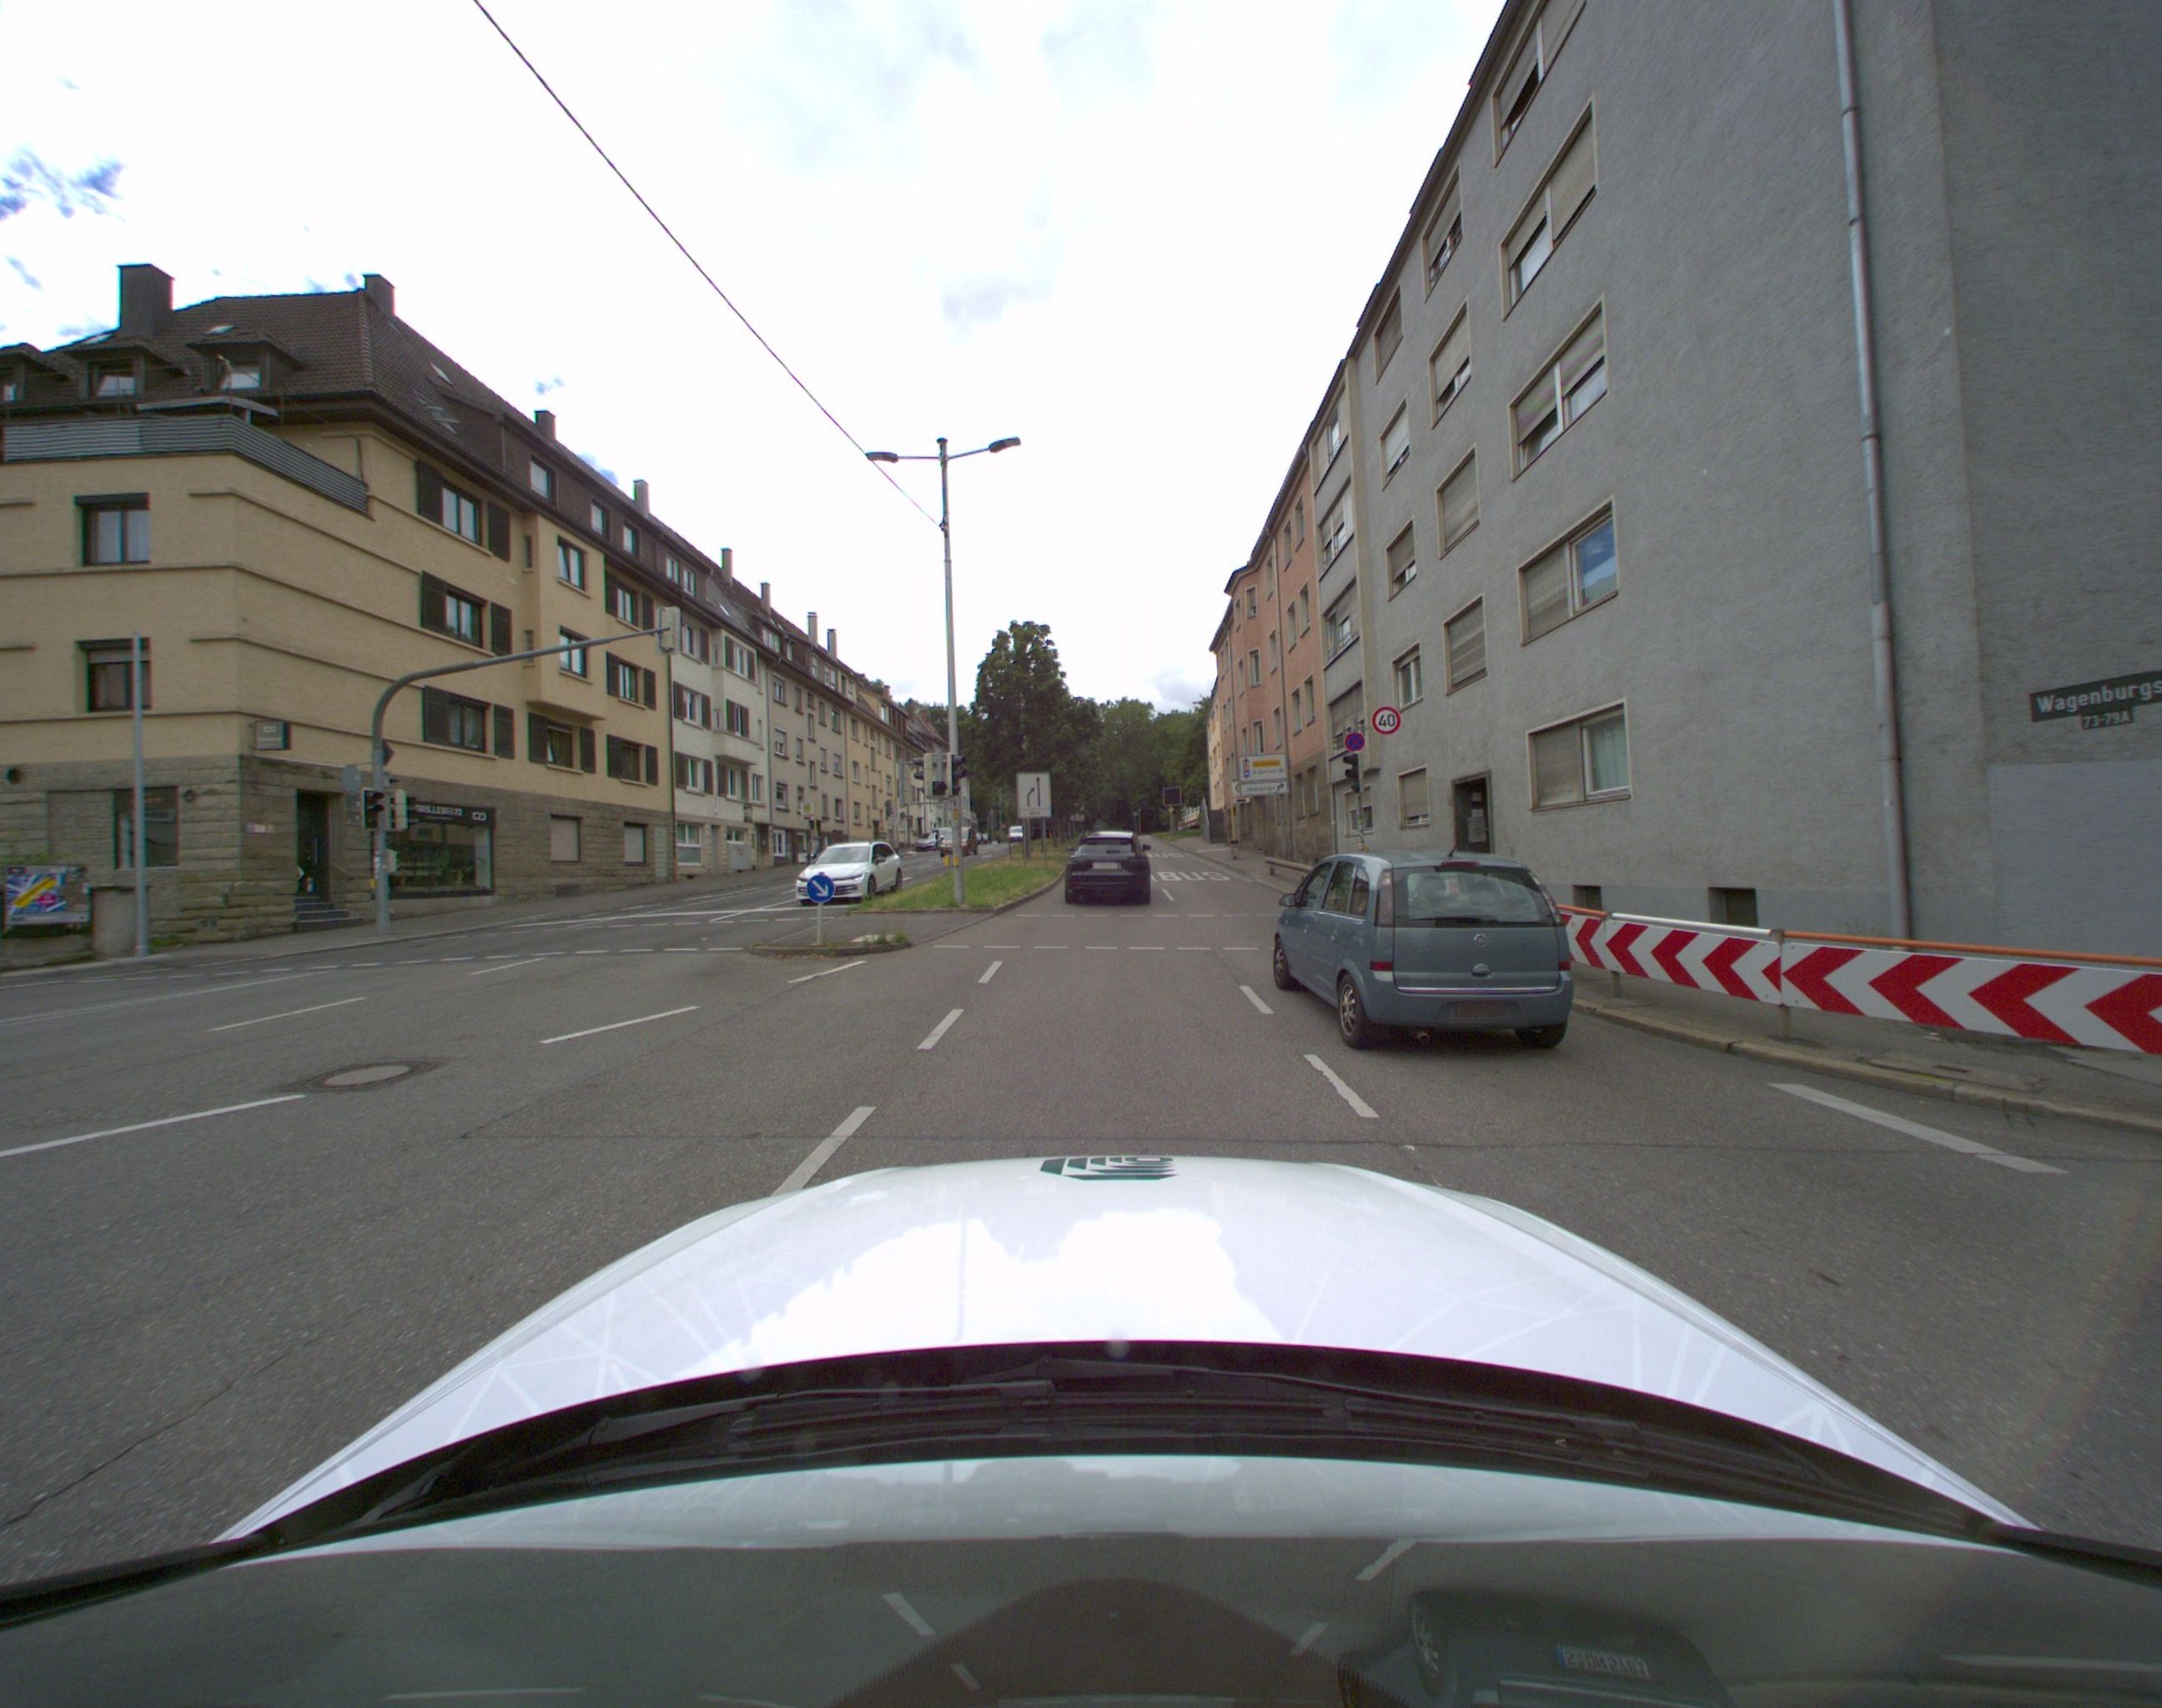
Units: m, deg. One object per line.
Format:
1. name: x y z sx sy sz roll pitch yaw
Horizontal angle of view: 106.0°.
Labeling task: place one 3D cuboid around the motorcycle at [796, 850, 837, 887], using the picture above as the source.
1. motorcycle: -9.120 0.483 28.121 0.542 1.184 2.207 -1 1 3

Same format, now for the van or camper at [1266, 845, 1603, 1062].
1. van or camper: 2.994 0.709 7.768 1.729 1.578 3.647 0 1 2

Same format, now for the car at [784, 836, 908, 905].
1. car: -5.962 0.341 21.277 1.739 1.467 4.588 -2 2 1

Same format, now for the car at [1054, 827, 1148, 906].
1. car: 0.559 0.225 19.932 1.985 1.653 4.004 -3 1 3

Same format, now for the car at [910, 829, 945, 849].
1. car: -12.998 -1.294 69.127 1.986 1.552 4.160 -2 2 1

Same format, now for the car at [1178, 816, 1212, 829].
1. car: 13.849 -3.812 98.845 4.024 1.417 1.975 -5 3 -44

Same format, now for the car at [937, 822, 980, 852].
1. car: -7.666 -1.089 51.419 1.872 1.815 4.355 0 1 3

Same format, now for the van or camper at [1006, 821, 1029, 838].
1. van or camper: -6.700 -2.557 86.114 1.900 1.761 4.658 0 1 2

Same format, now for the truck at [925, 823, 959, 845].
1. truck: -12.848 -1.906 75.584 1.986 1.919 5.349 -2 2 1

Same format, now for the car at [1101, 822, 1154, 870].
1. car: 1.883 -0.388 32.983 1.926 1.652 4.005 -3 3 3

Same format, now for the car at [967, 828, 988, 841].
1. car: -12.080 -2.303 95.332 1.988 1.422 4.209 -2 2 -2

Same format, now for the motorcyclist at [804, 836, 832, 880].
1. motorcyclist: -9.096 0.138 28.146 0.670 1.475 0.663 -1 1 3
